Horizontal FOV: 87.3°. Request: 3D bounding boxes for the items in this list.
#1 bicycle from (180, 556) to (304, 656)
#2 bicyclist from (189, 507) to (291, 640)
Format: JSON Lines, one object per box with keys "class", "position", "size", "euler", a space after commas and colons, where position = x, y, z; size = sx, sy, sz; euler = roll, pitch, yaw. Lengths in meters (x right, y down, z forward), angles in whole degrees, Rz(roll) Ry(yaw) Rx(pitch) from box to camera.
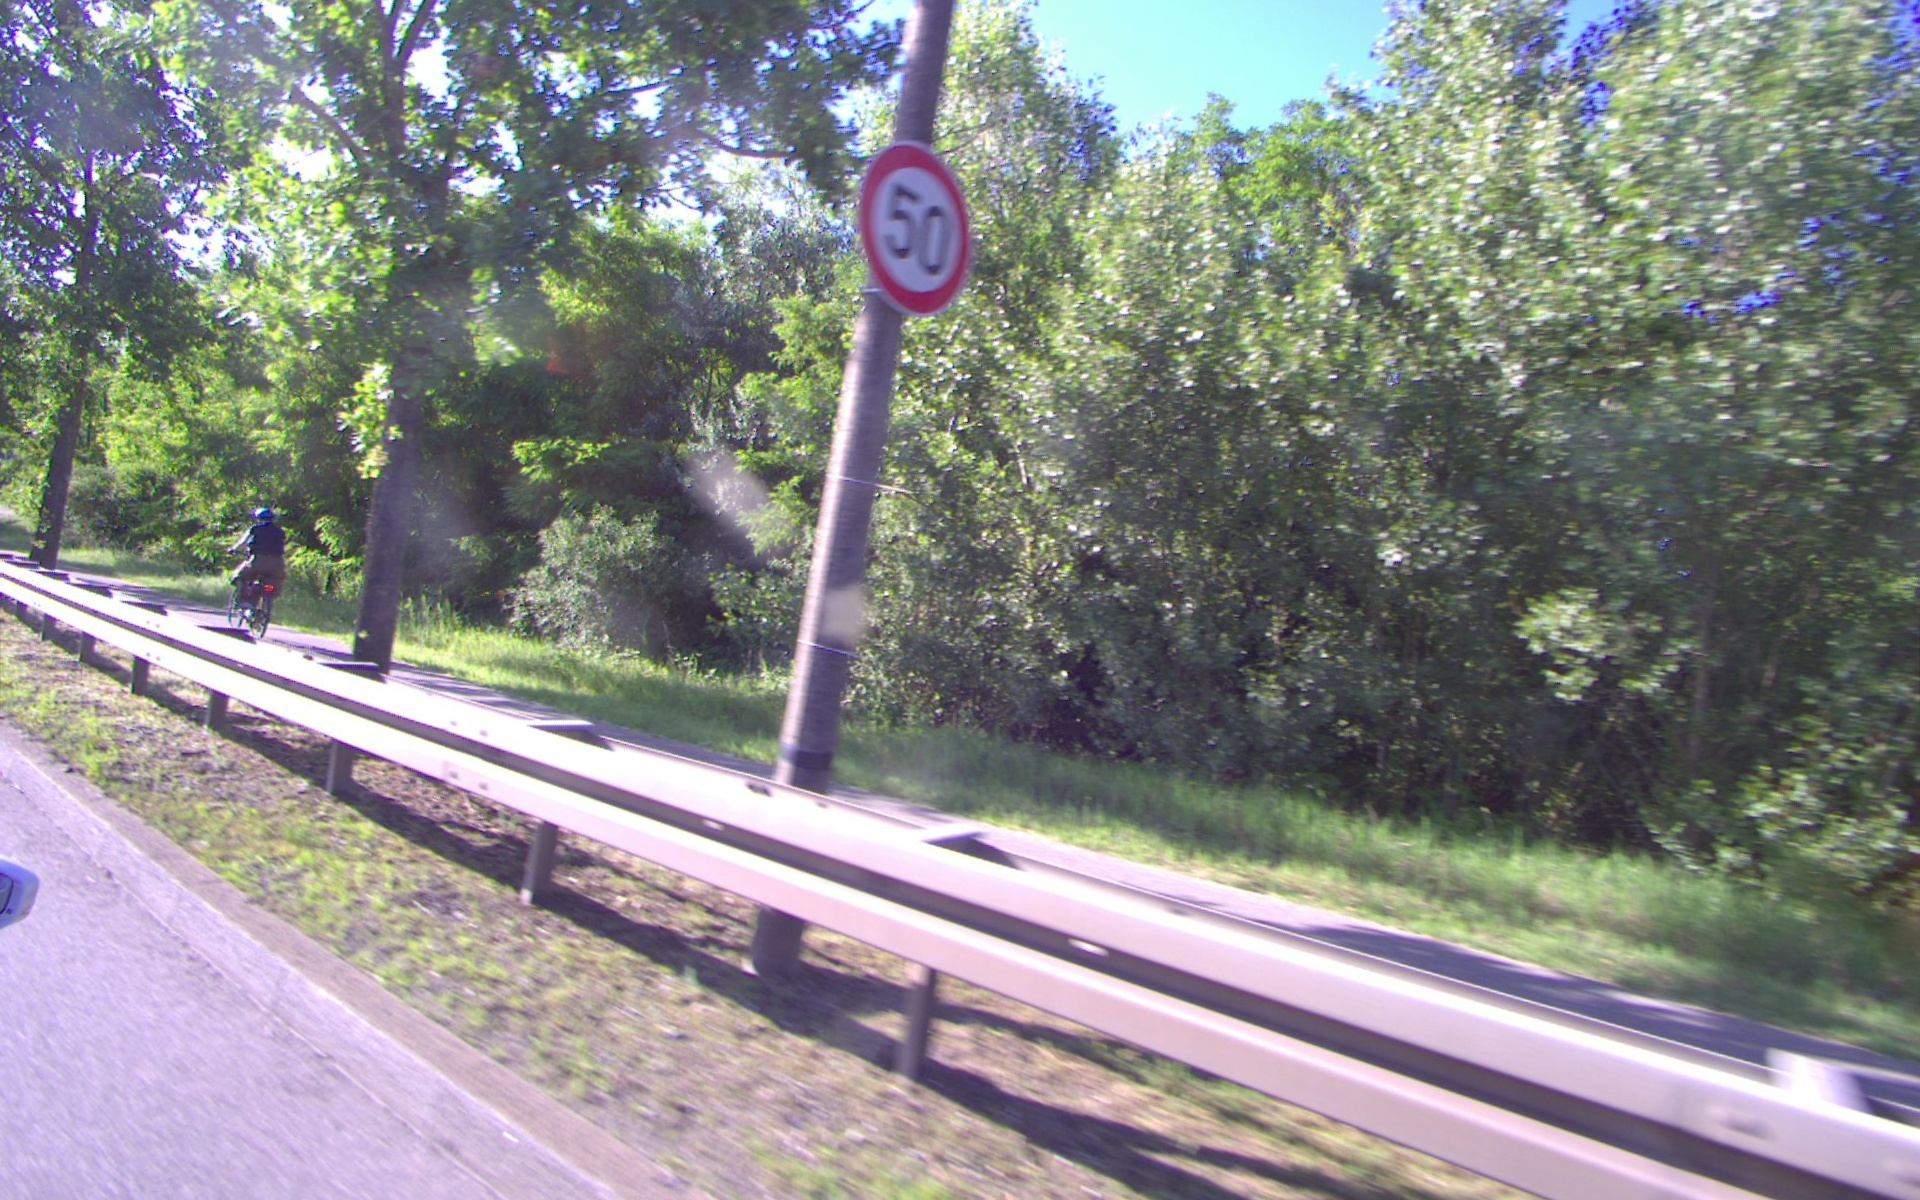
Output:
{"class": "bicycle", "position": [-9.405, 0.068, 13.152], "size": [1.892, 1.088, 0.700], "euler": [7, 0, 37]}
{"class": "bicyclist", "position": [-9.454, -0.344, 13.207], "size": [0.989, 1.598, 0.707], "euler": [8, 1, 37]}
